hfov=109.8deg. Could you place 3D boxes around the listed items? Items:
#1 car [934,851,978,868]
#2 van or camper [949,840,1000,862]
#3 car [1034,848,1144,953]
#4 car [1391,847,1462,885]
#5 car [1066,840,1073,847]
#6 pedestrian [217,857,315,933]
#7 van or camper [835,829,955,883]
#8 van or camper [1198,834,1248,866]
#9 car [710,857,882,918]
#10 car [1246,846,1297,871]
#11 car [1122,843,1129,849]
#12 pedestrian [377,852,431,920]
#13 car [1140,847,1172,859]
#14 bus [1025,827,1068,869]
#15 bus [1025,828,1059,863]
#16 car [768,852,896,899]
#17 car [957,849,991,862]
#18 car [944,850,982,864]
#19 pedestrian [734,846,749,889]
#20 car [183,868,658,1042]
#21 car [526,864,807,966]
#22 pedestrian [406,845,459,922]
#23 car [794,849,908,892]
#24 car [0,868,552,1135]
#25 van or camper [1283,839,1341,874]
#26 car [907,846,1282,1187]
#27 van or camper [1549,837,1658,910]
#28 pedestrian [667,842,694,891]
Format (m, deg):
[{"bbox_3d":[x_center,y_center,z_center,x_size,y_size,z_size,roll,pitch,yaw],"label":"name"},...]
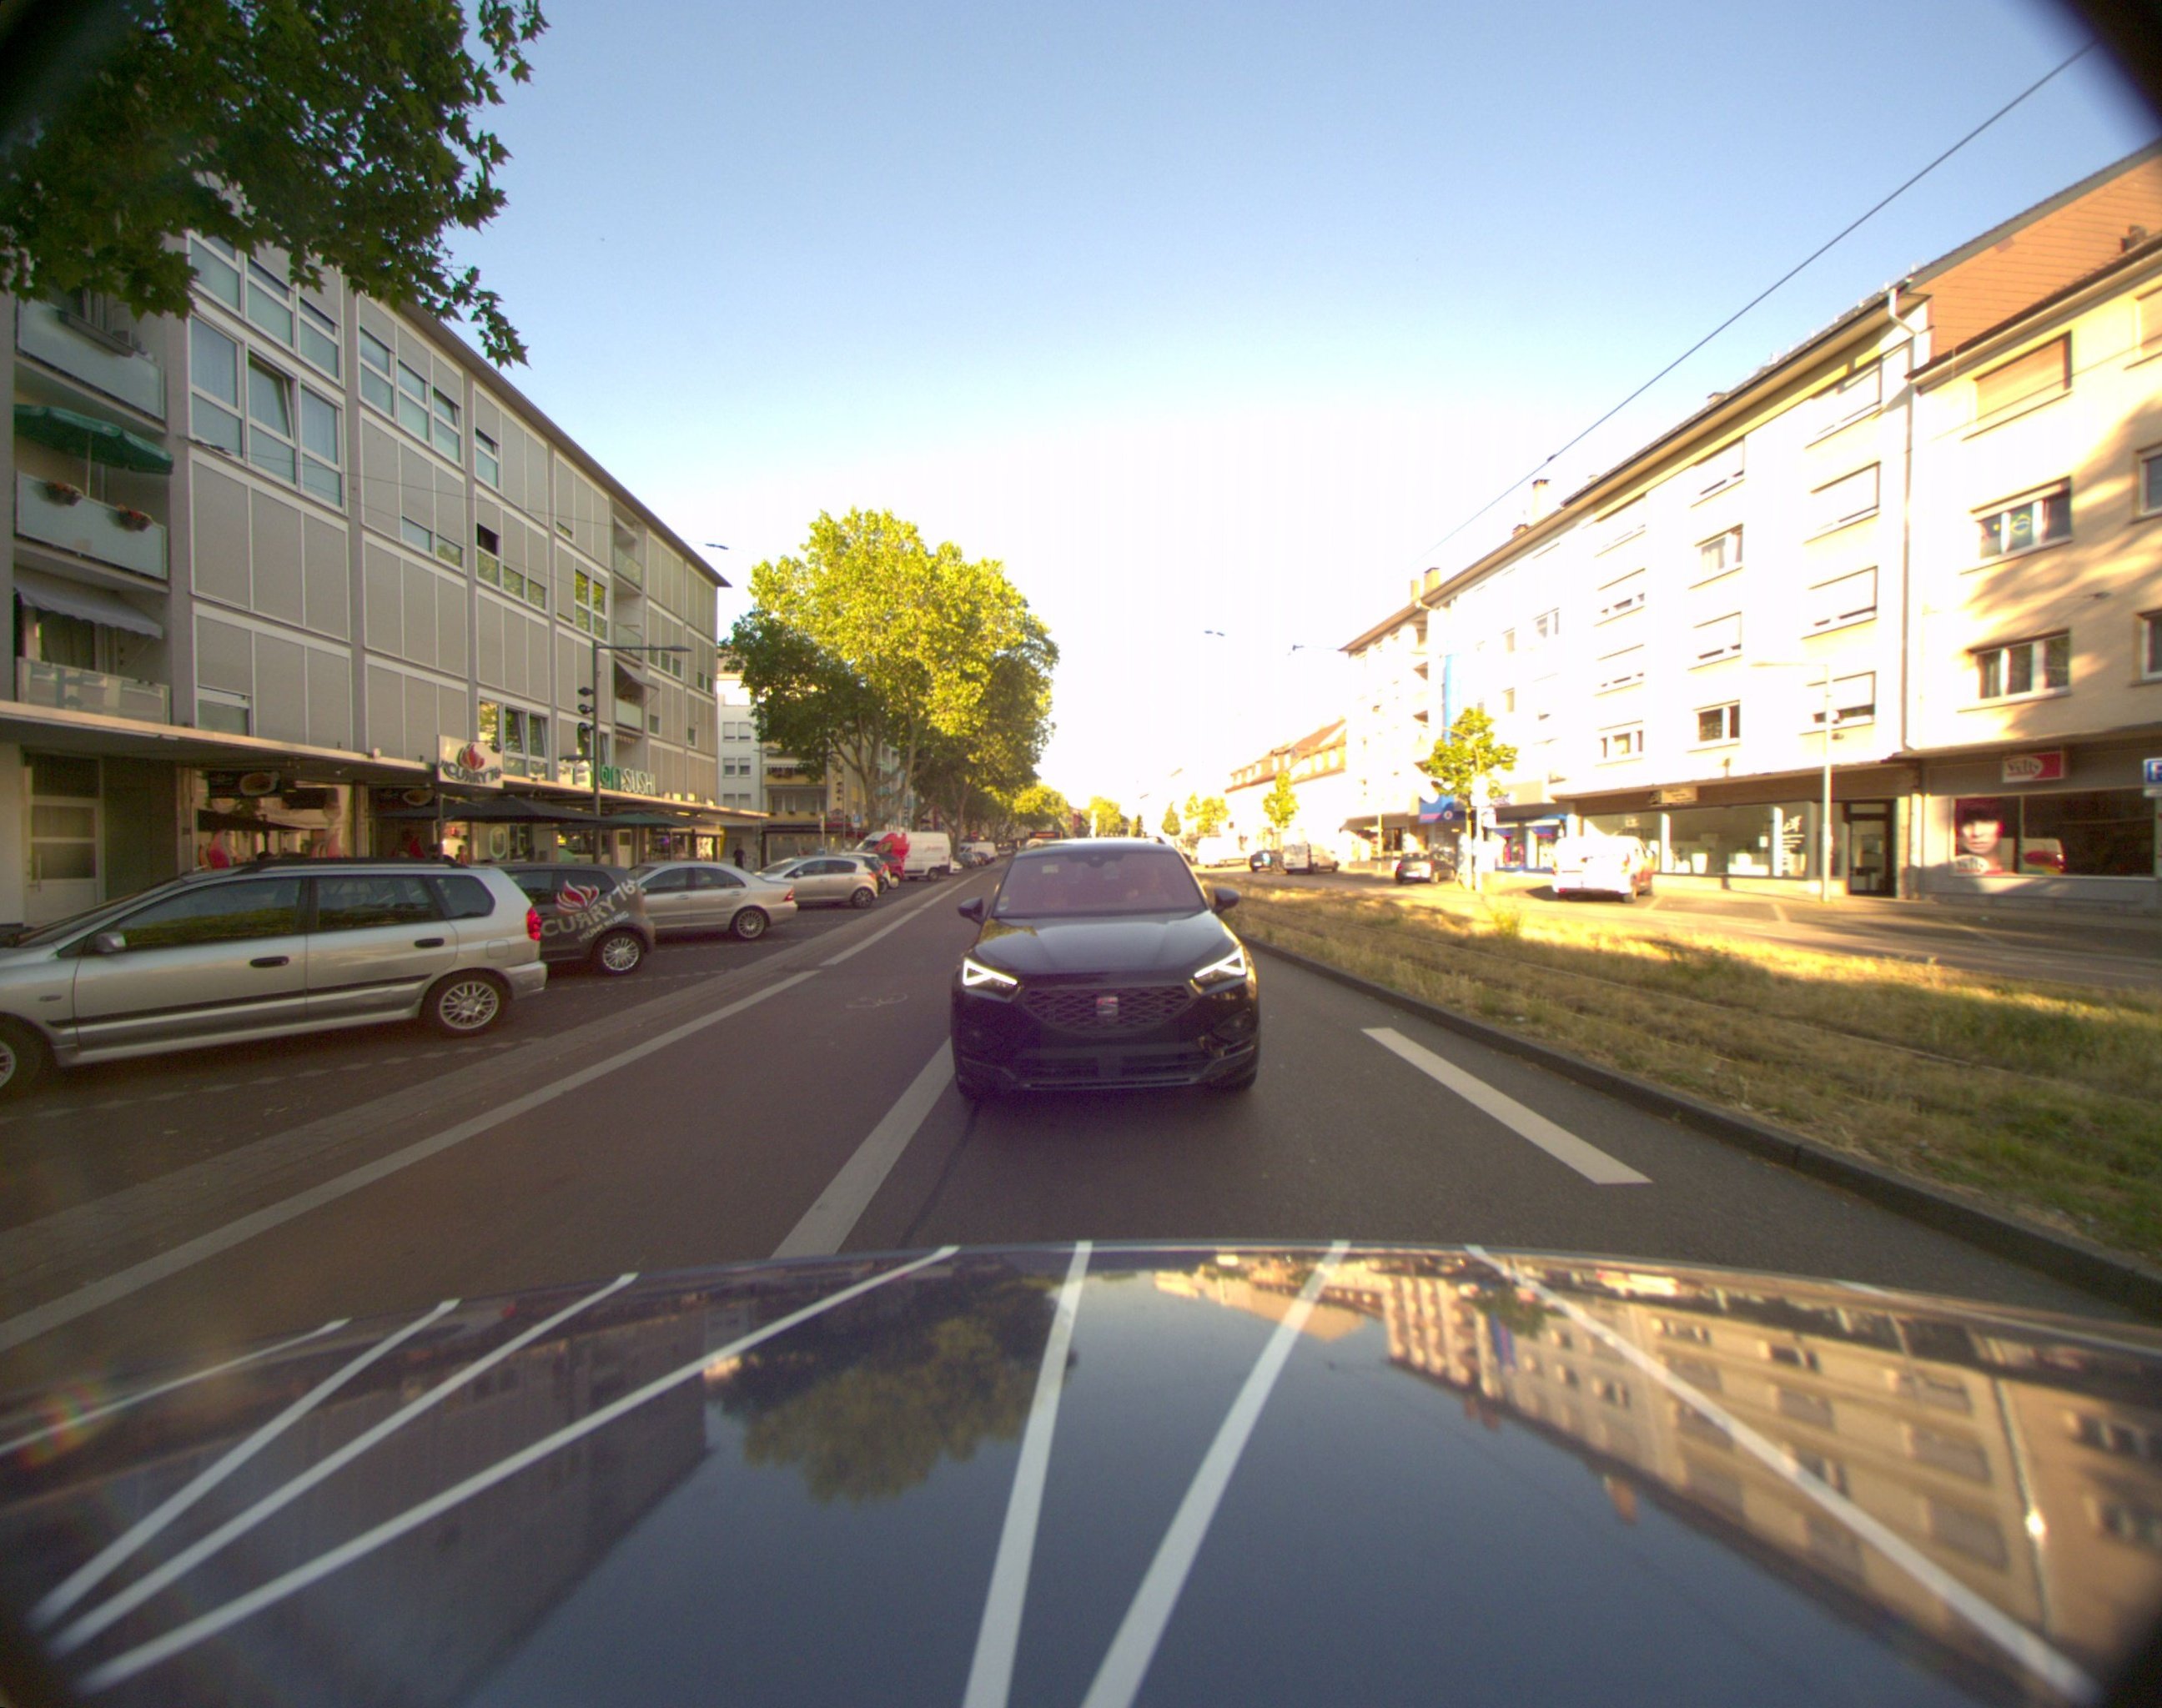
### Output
[{"bbox_3d":[-10.561,0.477,64.239,3.337,1.339,1.526,0,2,-44],"label":"car"},{"bbox_3d":[-11.836,-0.365,84.771,1.994,2.455,5.474,1,1,44],"label":"van or camper"},{"bbox_3d":[0.072,0.681,13.481,1.659,1.572,3.999,0,1,-1],"label":"car"},{"bbox_3d":[15.622,0.523,34.235,1.765,1.482,4.460,-1,1,39],"label":"car"},{"bbox_3d":[-2.708,-2.549,180.563,1.740,1.539,3.999,0,1,0],"label":"car"},{"bbox_3d":[-15.160,0.742,14.163,0.750,1.354,0.962,0,1,0],"label":"pedestrian"},{"bbox_3d":[-9.115,0.058,37.616,5.474,2.455,1.994,-1,1,-44],"label":"van or camper"},{"bbox_3d":[12.901,-0.395,68.567,1.994,2.652,6.410,-1,1,34],"label":"van or camper"},{"bbox_3d":[-7.615,0.831,20.515,4.008,1.428,1.654,0,2,-44],"label":"car"},{"bbox_3d":[13.745,0.297,54.661,1.874,1.577,4.008,-1,1,43],"label":"car"},{"bbox_3d":[14.038,-2.487,239.692,1.869,1.832,3.826,0,1,2],"label":"car"},{"bbox_3d":[-14.386,0.669,16.159,0.538,1.392,0.686,2,1,-5],"label":"pedestrian"},{"bbox_3d":[10.156,-0.176,103.201,3.921,1.482,1.766,-3,1,-27],"label":"car"},{"bbox_3d":[-2.928,-0.609,61.015,2.873,2.962,12.231,-2,2,-5],"label":"bus"},{"bbox_3d":[-3.883,-0.895,73.158,2.873,2.962,12.231,-2,2,-5],"label":"bus"},{"bbox_3d":[-8.795,0.700,27.022,4.008,1.514,1.654,0,2,-44],"label":"car"},{"bbox_3d":[-11.399,0.173,81.281,3.337,1.339,1.526,0,2,-44],"label":"car"},{"bbox_3d":[-11.488,0.257,74.028,3.337,1.339,1.526,0,2,-44],"label":"car"},{"bbox_3d":[-16.295,0.631,36.472,0.552,2.002,0.576,-3,1,-18],"label":"pedestrian"},{"bbox_3d":[-7.575,0.963,9.082,1.804,1.498,4.008,1,1,38],"label":"car"},{"bbox_3d":[-7.128,0.935,13.371,1.654,1.428,4.009,2,2,43],"label":"car"},{"bbox_3d":[-13.813,0.613,16.207,0.538,1.582,0.686,2,1,-5],"label":"pedestrian"},{"bbox_3d":[-9.101,0.616,30.217,4.008,1.555,1.654,0,2,-44],"label":"car"},{"bbox_3d":[-6.913,0.962,6.099,1.804,1.597,4.008,1,1,38],"label":"car"},{"bbox_3d":[14.581,0.121,47.800,1.795,1.978,4.460,-1,1,41],"label":"van or camper"},{"bbox_3d":[0.096,0.794,5.777,1.808,1.638,3.999,-2,1,1],"label":"car"},{"bbox_3d":[15.830,0.514,22.905,1.946,1.887,4.824,-1,1,43],"label":"van or camper"},{"bbox_3d":[-13.411,0.414,25.466,0.538,1.582,0.686,2,1,-5],"label":"pedestrian"}]
